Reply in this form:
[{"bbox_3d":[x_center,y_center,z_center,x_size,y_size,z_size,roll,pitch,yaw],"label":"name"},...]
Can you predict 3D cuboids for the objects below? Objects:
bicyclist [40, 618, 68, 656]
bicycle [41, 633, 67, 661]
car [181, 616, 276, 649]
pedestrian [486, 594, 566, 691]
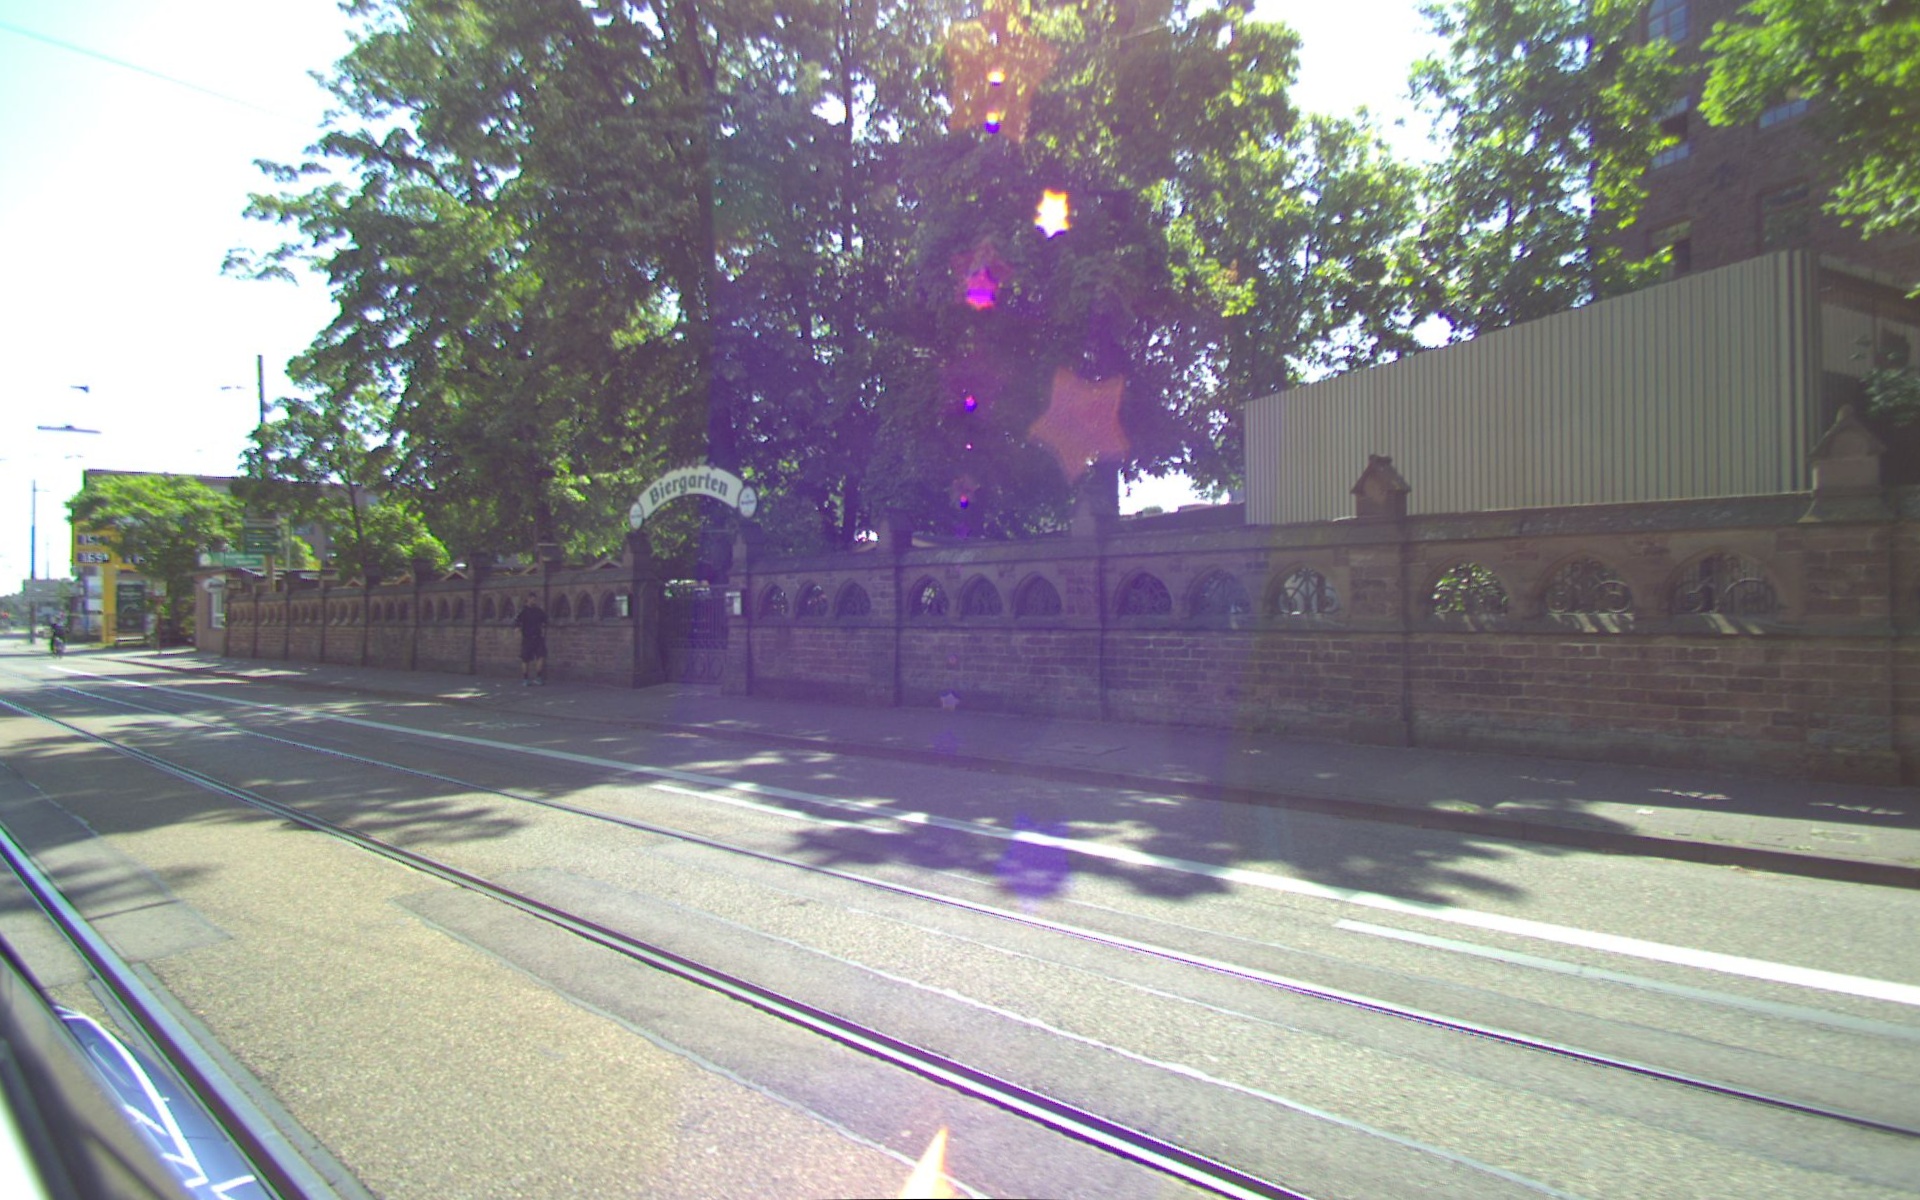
[{"bbox_3d":[-37.498,1.510,41.881,0.947,1.542,0.732,-1,-1,41],"label":"bicyclist"},{"bbox_3d":[-37.448,1.935,41.828,2.053,1.114,0.585,-1,-1,42],"label":"bicycle"},{"bbox_3d":[-38.633,1.688,53.615,1.989,1.653,4.665,-1,-1,-6],"label":"car"},{"bbox_3d":[-8.690,0.830,20.266,1.184,1.829,0.966,-2,2,41],"label":"pedestrian"}]
